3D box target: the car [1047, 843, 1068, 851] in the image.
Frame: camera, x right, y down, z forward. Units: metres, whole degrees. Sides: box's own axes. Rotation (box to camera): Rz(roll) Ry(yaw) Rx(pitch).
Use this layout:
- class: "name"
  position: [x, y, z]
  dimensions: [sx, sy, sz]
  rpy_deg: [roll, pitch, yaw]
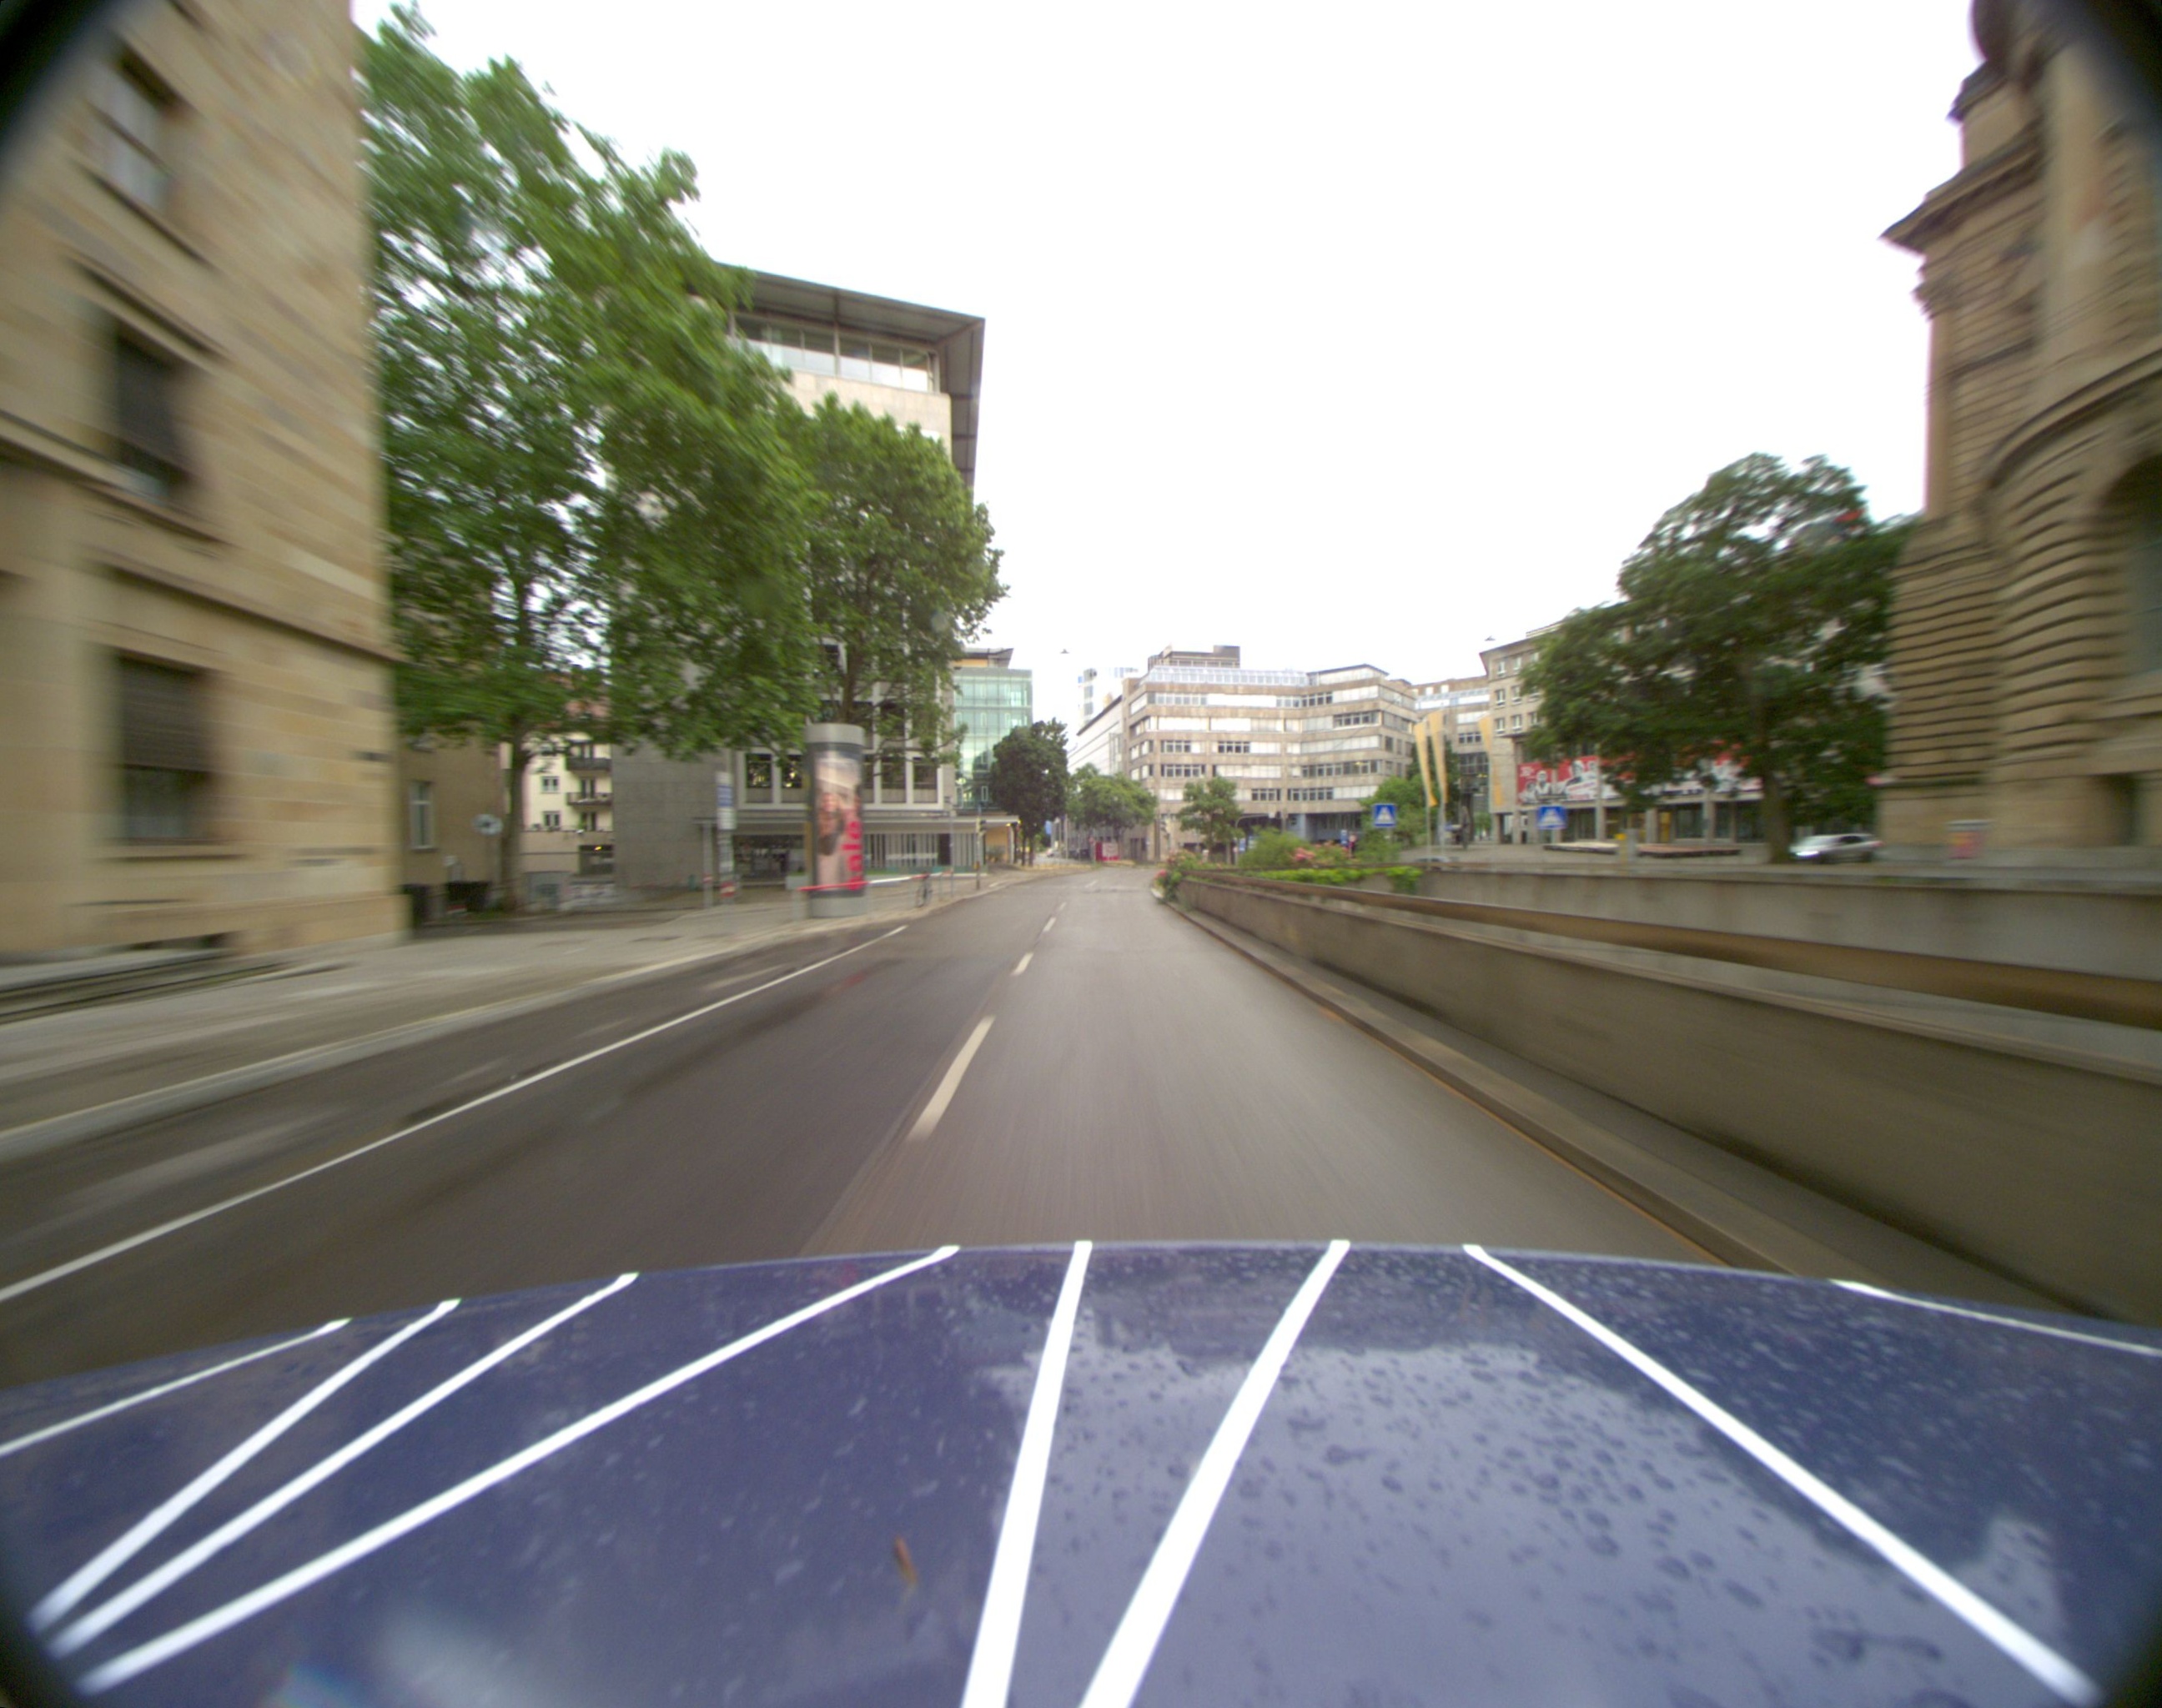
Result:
- class: "car"
  position: [-4.644, -1.361, 150.264]
  dimensions: [3.776, 1.641, 1.796]
  rpy_deg: [1, 0, -23]

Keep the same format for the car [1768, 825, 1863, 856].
- class: "car"
  position: [41.068, -0.742, 42.505]
  dimensions: [4.216, 1.547, 1.997]
  rpy_deg: [-2, 1, -17]

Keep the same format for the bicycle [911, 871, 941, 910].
- class: "bicycle"
  position: [-4.476, 1.025, 22.063]
  dimensions: [0.490, 1.006, 1.927]
  rpy_deg: [-2, 1, -2]

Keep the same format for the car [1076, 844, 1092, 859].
- class: "car"
  position: [0.426, -0.391, 115.581]
  dimensions: [1.999, 2.068, 3.998]
  rpy_deg: [-2, 1, -4]
